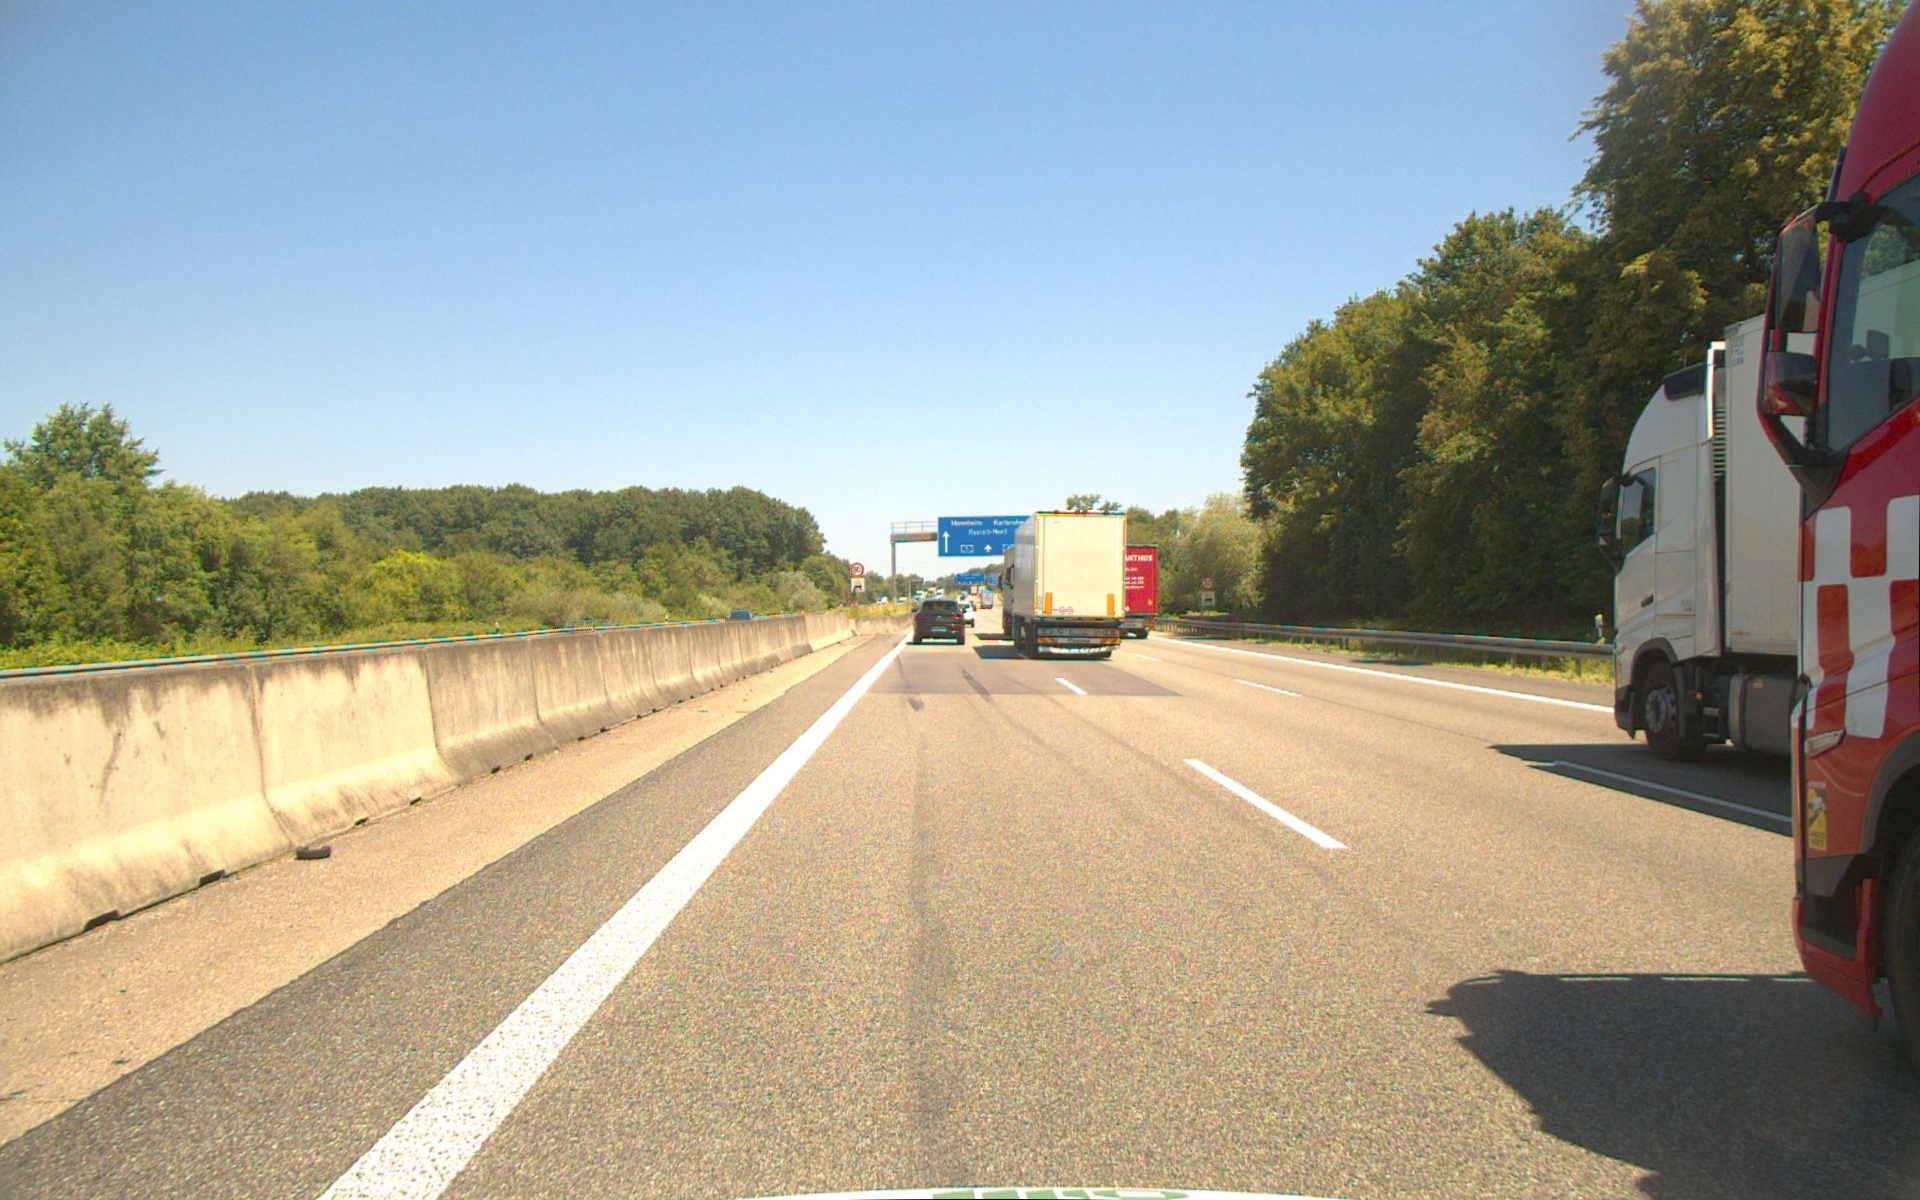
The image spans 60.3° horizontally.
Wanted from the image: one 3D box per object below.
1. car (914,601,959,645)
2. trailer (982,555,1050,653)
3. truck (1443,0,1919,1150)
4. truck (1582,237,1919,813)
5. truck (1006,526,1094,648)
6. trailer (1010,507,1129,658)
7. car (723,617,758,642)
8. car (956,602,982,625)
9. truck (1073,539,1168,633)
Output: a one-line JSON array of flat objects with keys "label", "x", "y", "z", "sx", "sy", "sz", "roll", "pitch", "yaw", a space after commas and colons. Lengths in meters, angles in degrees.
[{"label": "car", "x": -0.911, "y": 0.843, "z": 62.995, "sx": 1.626, "sy": 1.576, "sz": 3.782, "roll": 1, "pitch": 0, "yaw": -1}, {"label": "trailer", "x": 2.477, "y": 0.256, "z": 77.320, "sx": 2.652, "sy": 4.139, "sz": 14.744, "roll": 0, "pitch": -1, "yaw": 0}, {"label": "truck", "x": 4.232, "y": -0.401, "z": 6.308, "sx": 2.881, "sy": 4.055, "sz": 6.099, "roll": 1, "pitch": 0, "yaw": -1}, {"label": "truck", "x": 8.420, "y": -0.529, "z": 12.942, "sx": 2.963, "sy": 4.164, "sz": 10.976, "roll": 1, "pitch": 0, "yaw": 0}, {"label": "truck", "x": 3.120, "y": -0.435, "z": 58.776, "sx": 2.743, "sy": 4.077, "sz": 6.019, "roll": 0, "pitch": 0, "yaw": -1}, {"label": "trailer", "x": 3.172, "y": -0.457, "z": 51.379, "sx": 2.738, "sy": 4.106, "sz": 12.565, "roll": 0, "pitch": 0, "yaw": -1}, {"label": "car", "x": -14.220, "y": 1.880, "z": 107.294, "sx": 1.734, "sy": 1.497, "sz": 3.999, "roll": -1, "pitch": 0, "yaw": -1}, {"label": "car", "x": 0.569, "y": 0.900, "z": 110.468, "sx": 1.704, "sy": 1.512, "sz": 4.000, "roll": 0, "pitch": 0, "yaw": 0}, {"label": "truck", "x": 7.609, "y": -0.596, "z": 80.281, "sx": 2.993, "sy": 4.178, "sz": 13.214, "roll": 1, "pitch": 0, "yaw": -1}]
